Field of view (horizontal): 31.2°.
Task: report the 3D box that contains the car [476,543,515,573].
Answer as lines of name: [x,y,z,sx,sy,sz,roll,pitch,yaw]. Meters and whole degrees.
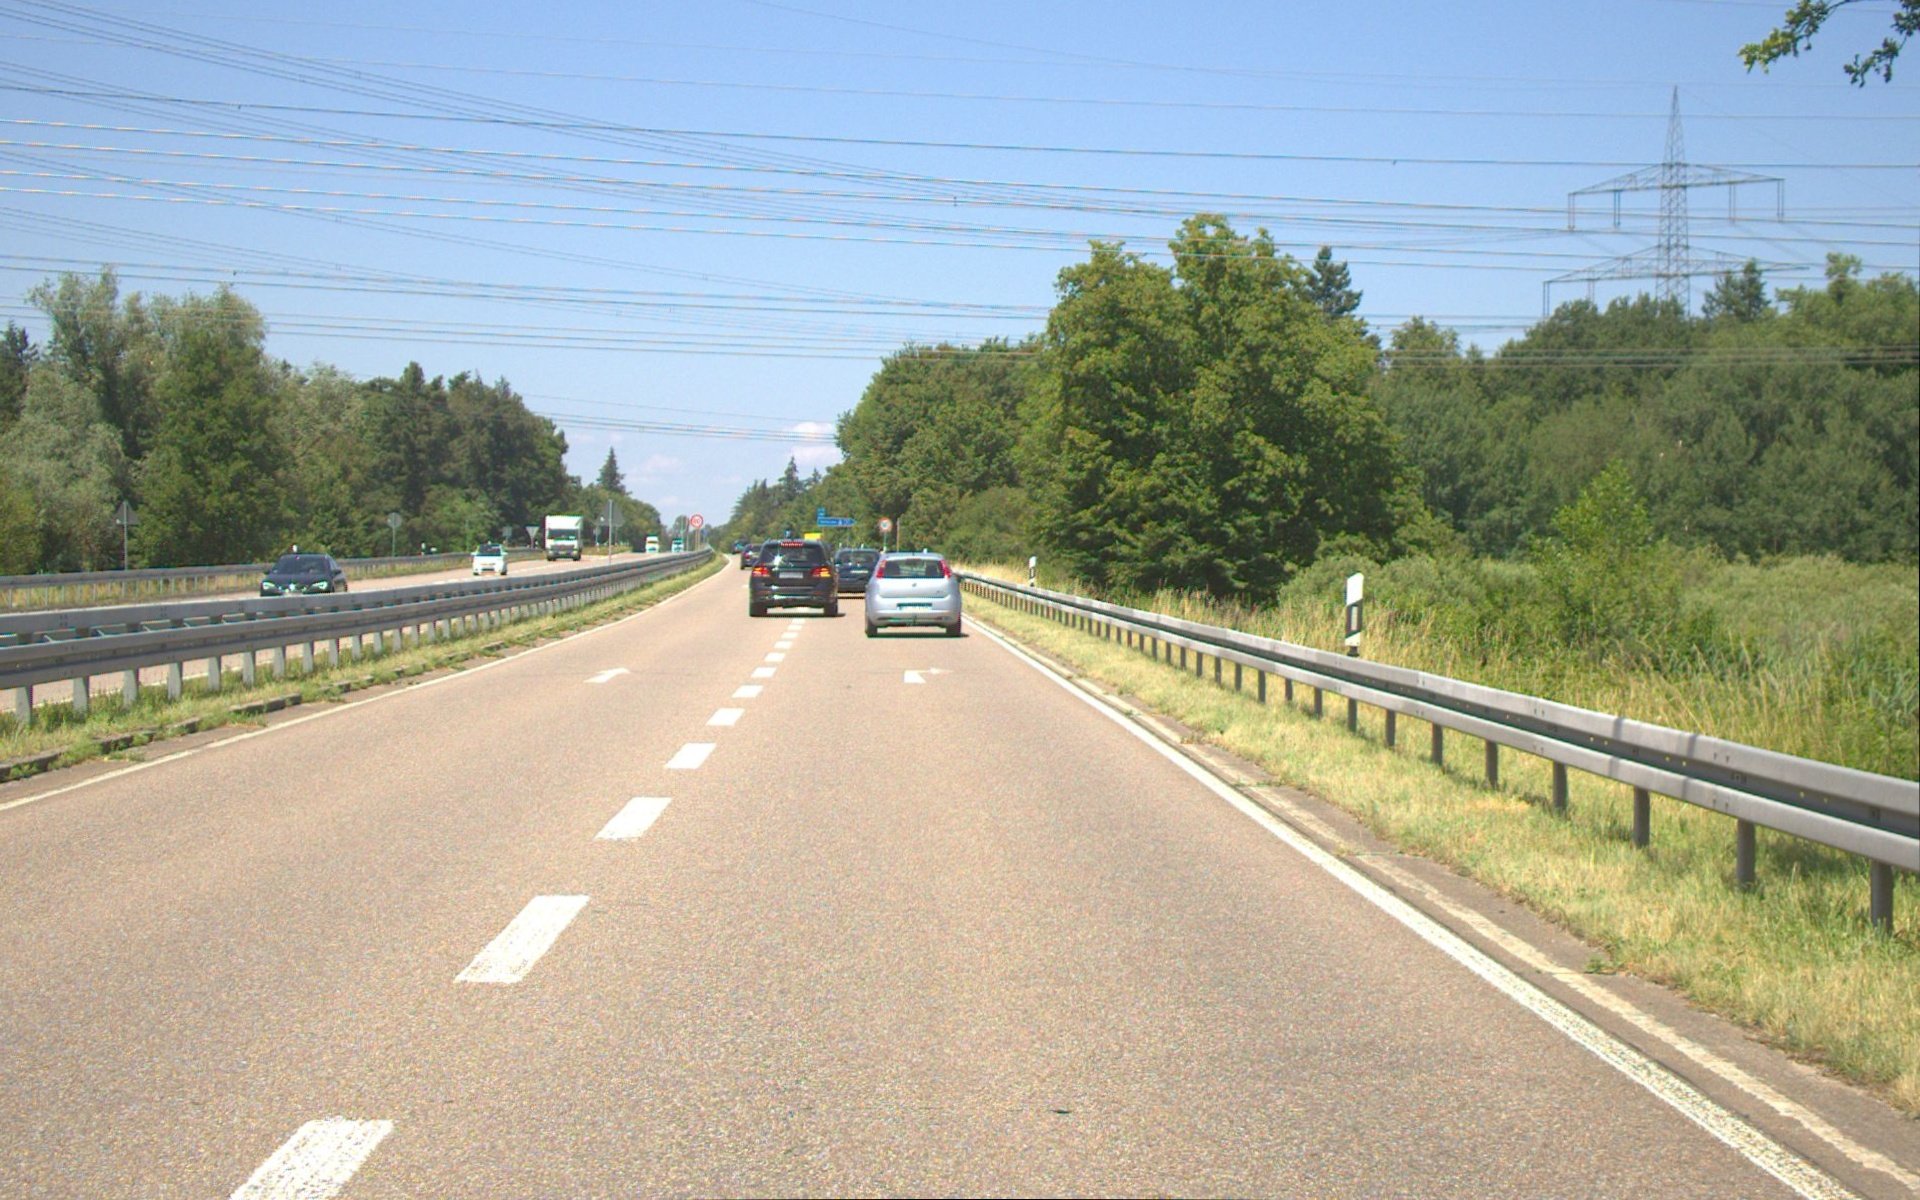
car: [-22.860,-2.070,169.276,1.533,1.444,3.702,0,1,-2]

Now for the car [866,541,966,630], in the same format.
car: [-0.807,-0.282,61.026,1.640,1.463,3.419,3,1,-2]

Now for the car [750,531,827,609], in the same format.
car: [-3.869,-0.686,77.937,1.640,1.648,3.574,3,1,-2]

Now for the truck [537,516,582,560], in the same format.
truck: [-29.446,-4.592,253.124,2.718,3.182,8.406,0,1,-3]

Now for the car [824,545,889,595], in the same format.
car: [-2.967,-0.877,99.462,1.640,1.338,3.574,3,1,1]

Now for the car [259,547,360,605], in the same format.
car: [-16.402,-0.632,86.899,1.844,1.408,4.681,0,1,-2]

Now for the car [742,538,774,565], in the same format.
car: [-11.400,-2.737,194.102,1.712,1.466,3.574,3,1,-4]
